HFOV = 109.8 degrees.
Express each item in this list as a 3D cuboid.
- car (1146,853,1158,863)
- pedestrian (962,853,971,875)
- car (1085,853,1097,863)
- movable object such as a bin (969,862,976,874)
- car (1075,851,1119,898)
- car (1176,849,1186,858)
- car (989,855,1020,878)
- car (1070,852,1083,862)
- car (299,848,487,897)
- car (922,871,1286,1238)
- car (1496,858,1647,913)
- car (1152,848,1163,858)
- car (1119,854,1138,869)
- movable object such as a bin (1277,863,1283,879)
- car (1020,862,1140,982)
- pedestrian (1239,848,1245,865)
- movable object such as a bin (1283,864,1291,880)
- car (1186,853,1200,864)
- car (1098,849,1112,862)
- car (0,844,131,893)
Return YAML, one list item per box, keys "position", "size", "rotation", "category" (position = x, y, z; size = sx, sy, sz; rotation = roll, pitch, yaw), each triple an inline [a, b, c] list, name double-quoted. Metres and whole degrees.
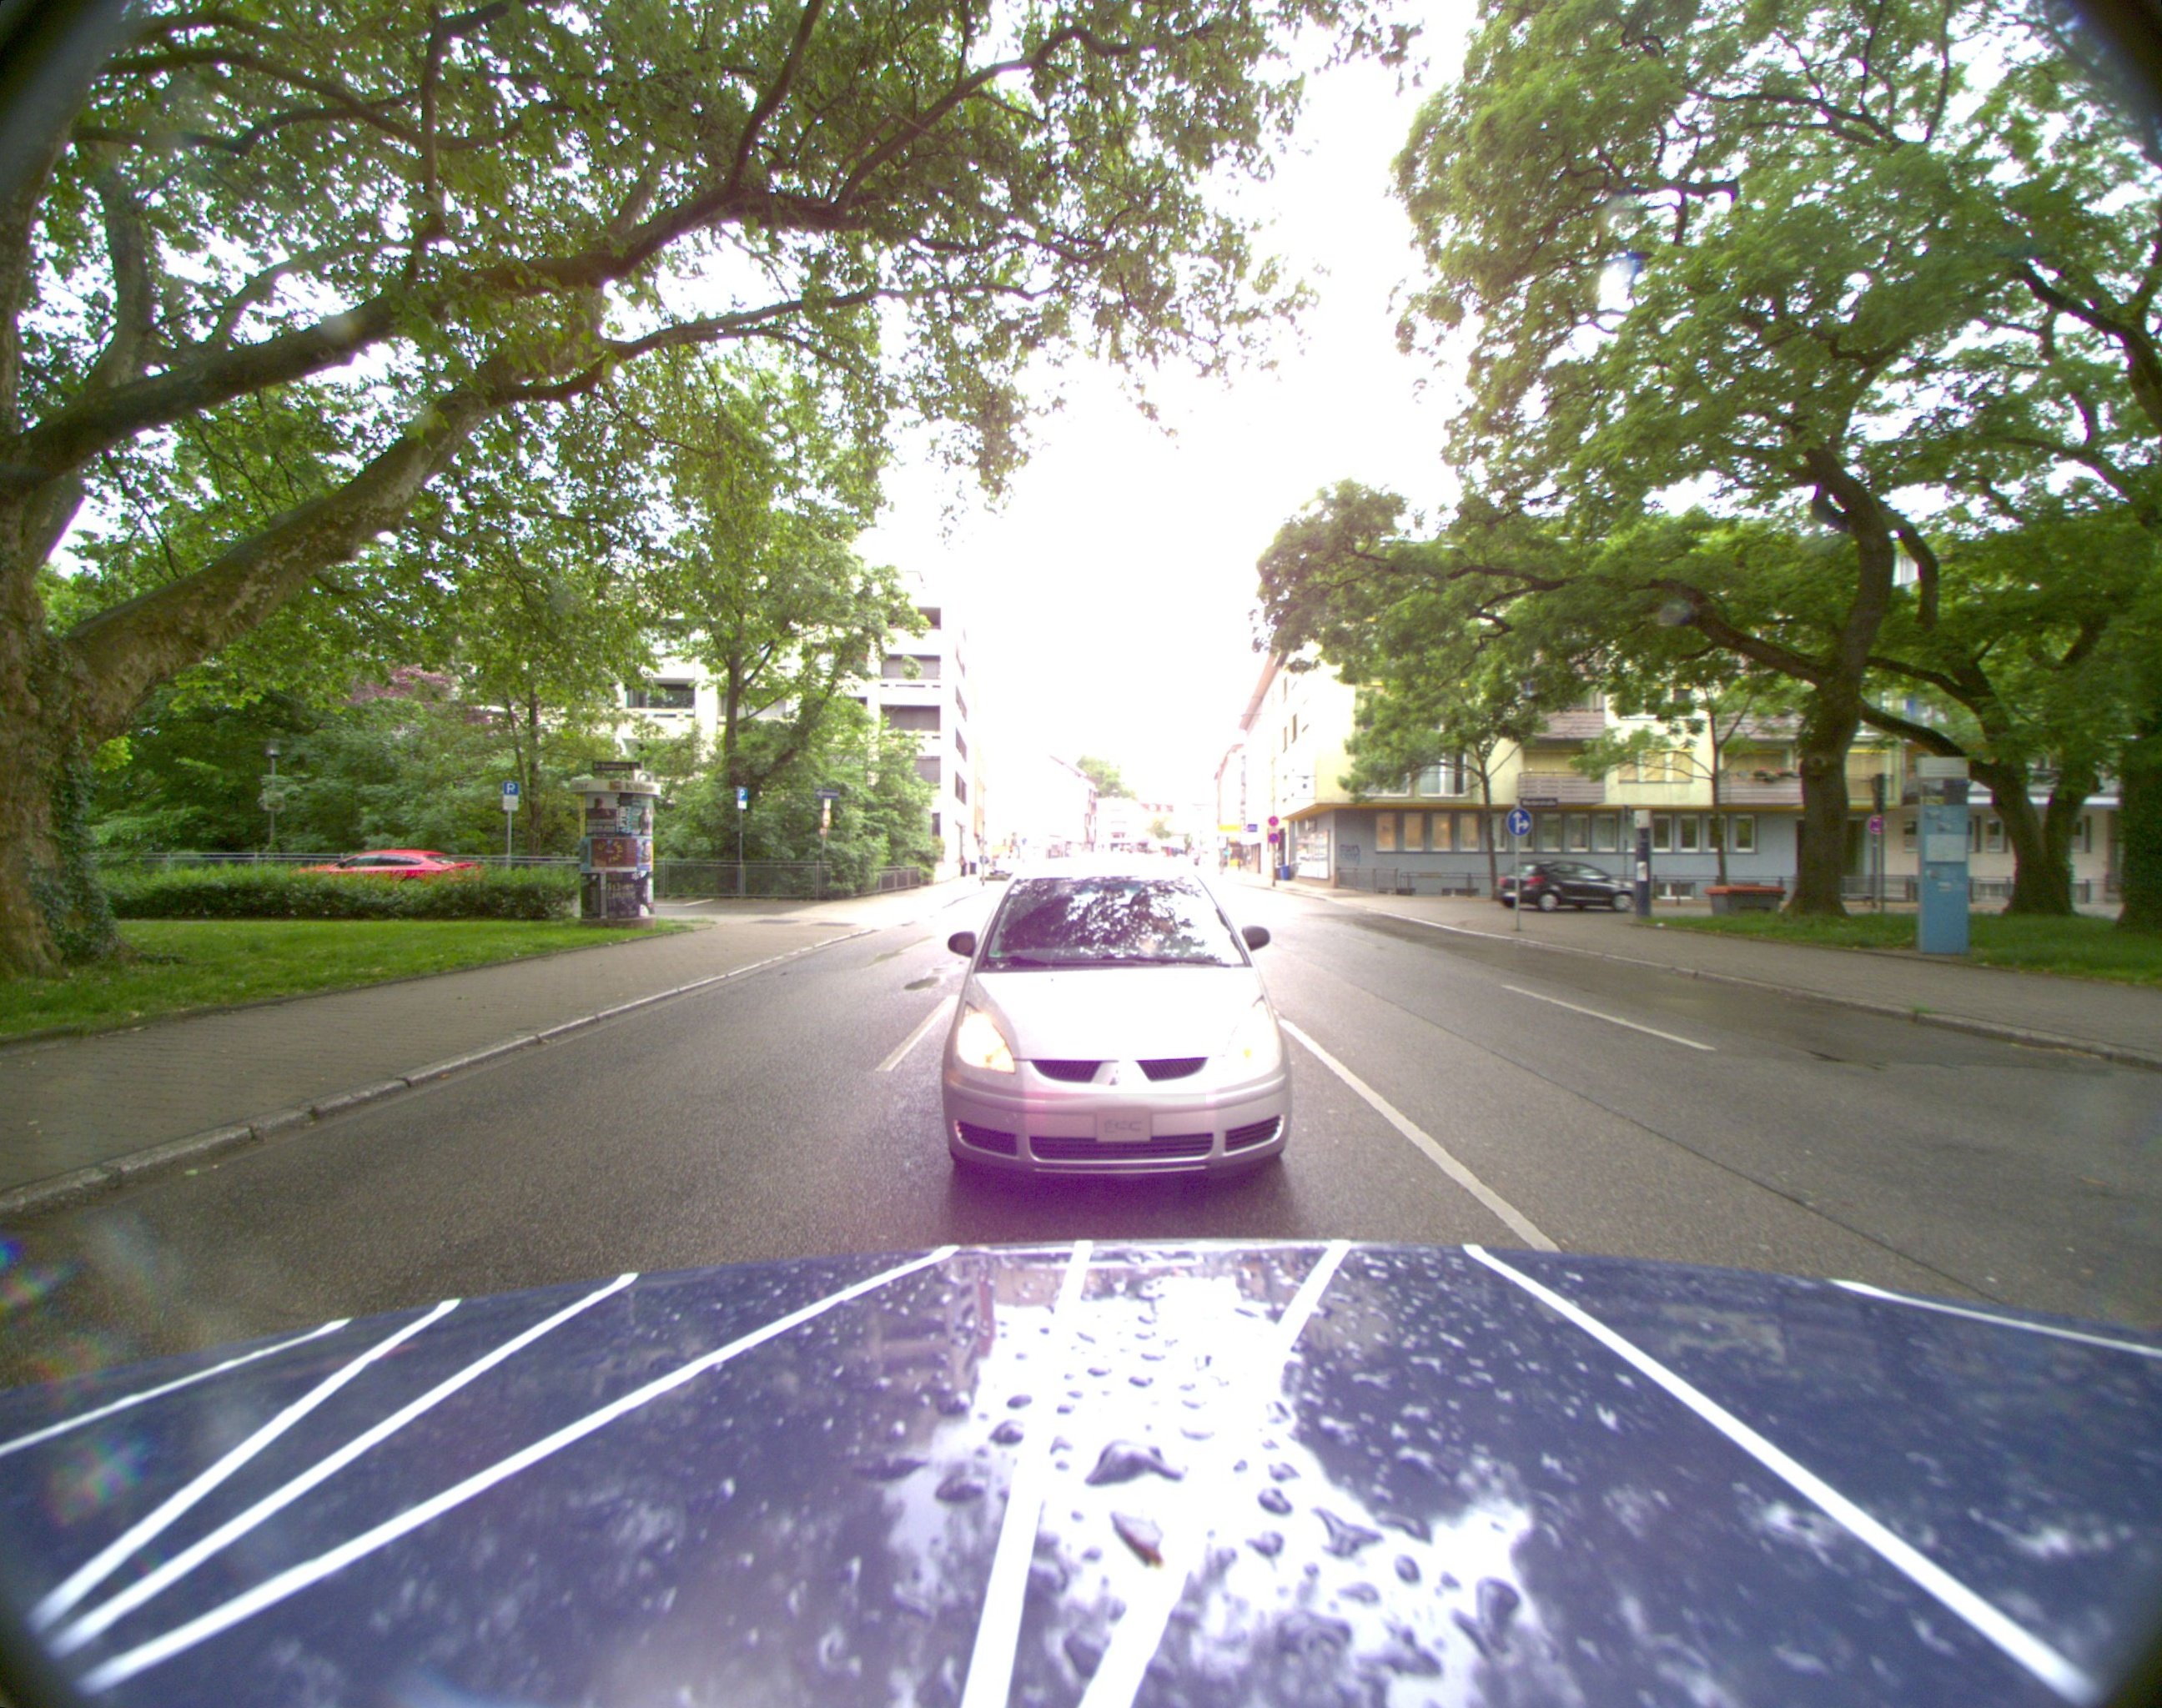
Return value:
- position: [12.003, 0.688, 128.709]
  size: [1.998, 1.631, 4.001]
  rotation: [1, 0, 4]
  category: "car"
- position: [-8.063, 0.676, 53.356]
  size: [0.480, 1.521, 0.481]
  rotation: [-2, 1, 1]
  category: "pedestrian"
- position: [1.557, 0.615, 120.024]
  size: [1.802, 1.433, 3.897]
  rotation: [1, 0, 1]
  category: "car"
- position: [-9.003, 1.159, 62.940]
  size: [0.556, 1.035, 0.292]
  rotation: [1, 1, 0]
  category: "movable object such as a bin"
- position: [0.591, 0.743, 29.636]
  size: [1.584, 1.705, 3.649]
  rotation: [1, 0, 0]
  category: "car"
- position: [19.466, -0.142, 148.072]
  size: [1.867, 1.648, 4.001]
  rotation: [1, 0, 4]
  category: "car"
- position: [-5.322, 0.853, 53.514]
  size: [1.681, 1.424, 3.681]
  rotation: [3, 0, 1]
  category: "car"
- position: [-0.691, 0.503, 113.427]
  size: [1.802, 1.433, 3.896]
  rotation: [1, 0, 0]
  category: "car"
- position: [-19.430, 0.515, 21.581]
  size: [3.790, 1.271, 1.576]
  rotation: [1, 1, -3]
  category: "car"
- position: [0.127, 0.926, 4.983]
  size: [1.576, 1.514, 3.241]
  rotation: [-1, 0, 1]
  category: "car"
- position: [14.457, 0.917, 22.465]
  size: [3.567, 1.480, 1.571]
  rotation: [1, 1, -9]
  category: "car"
- position: [14.659, -0.212, 145.509]
  size: [1.998, 1.841, 4.001]
  rotation: [1, 0, 4]
  category: "car"
- position: [4.616, 0.687, 74.241]
  size: [1.701, 1.433, 3.897]
  rotation: [1, 0, 1]
  category: "car"
- position: [12.667, 1.101, 48.402]
  size: [0.338, 1.023, 0.353]
  rotation: [1, 1, 8]
  category: "movable object such as a bin"
- position: [0.062, 0.926, 12.033]
  size: [1.590, 1.540, 3.771]
  rotation: [1, 0, 2]
  category: "car"
- position: [17.816, 0.299, 84.029]
  size: [0.594, 1.833, 0.565]
  rotation: [1, 1, 8]
  category: "pedestrian"
- position: [13.071, 1.162, 48.263]
  size: [0.415, 1.023, 0.353]
  rotation: [1, 1, 8]
  category: "movable object such as a bin"
- position: [17.854, 0.702, 121.329]
  size: [1.889, 1.707, 4.001]
  rotation: [1, 0, 4]
  category: "car"
- position: [3.511, 0.215, 113.362]
  size: [1.935, 1.817, 3.999]
  rotation: [-2, 1, 0]
  category: "car"
- position: [-29.131, 0.389, 21.085]
  size: [3.468, 1.271, 1.448]
  rotation: [1, 1, -5]
  category: "car"
